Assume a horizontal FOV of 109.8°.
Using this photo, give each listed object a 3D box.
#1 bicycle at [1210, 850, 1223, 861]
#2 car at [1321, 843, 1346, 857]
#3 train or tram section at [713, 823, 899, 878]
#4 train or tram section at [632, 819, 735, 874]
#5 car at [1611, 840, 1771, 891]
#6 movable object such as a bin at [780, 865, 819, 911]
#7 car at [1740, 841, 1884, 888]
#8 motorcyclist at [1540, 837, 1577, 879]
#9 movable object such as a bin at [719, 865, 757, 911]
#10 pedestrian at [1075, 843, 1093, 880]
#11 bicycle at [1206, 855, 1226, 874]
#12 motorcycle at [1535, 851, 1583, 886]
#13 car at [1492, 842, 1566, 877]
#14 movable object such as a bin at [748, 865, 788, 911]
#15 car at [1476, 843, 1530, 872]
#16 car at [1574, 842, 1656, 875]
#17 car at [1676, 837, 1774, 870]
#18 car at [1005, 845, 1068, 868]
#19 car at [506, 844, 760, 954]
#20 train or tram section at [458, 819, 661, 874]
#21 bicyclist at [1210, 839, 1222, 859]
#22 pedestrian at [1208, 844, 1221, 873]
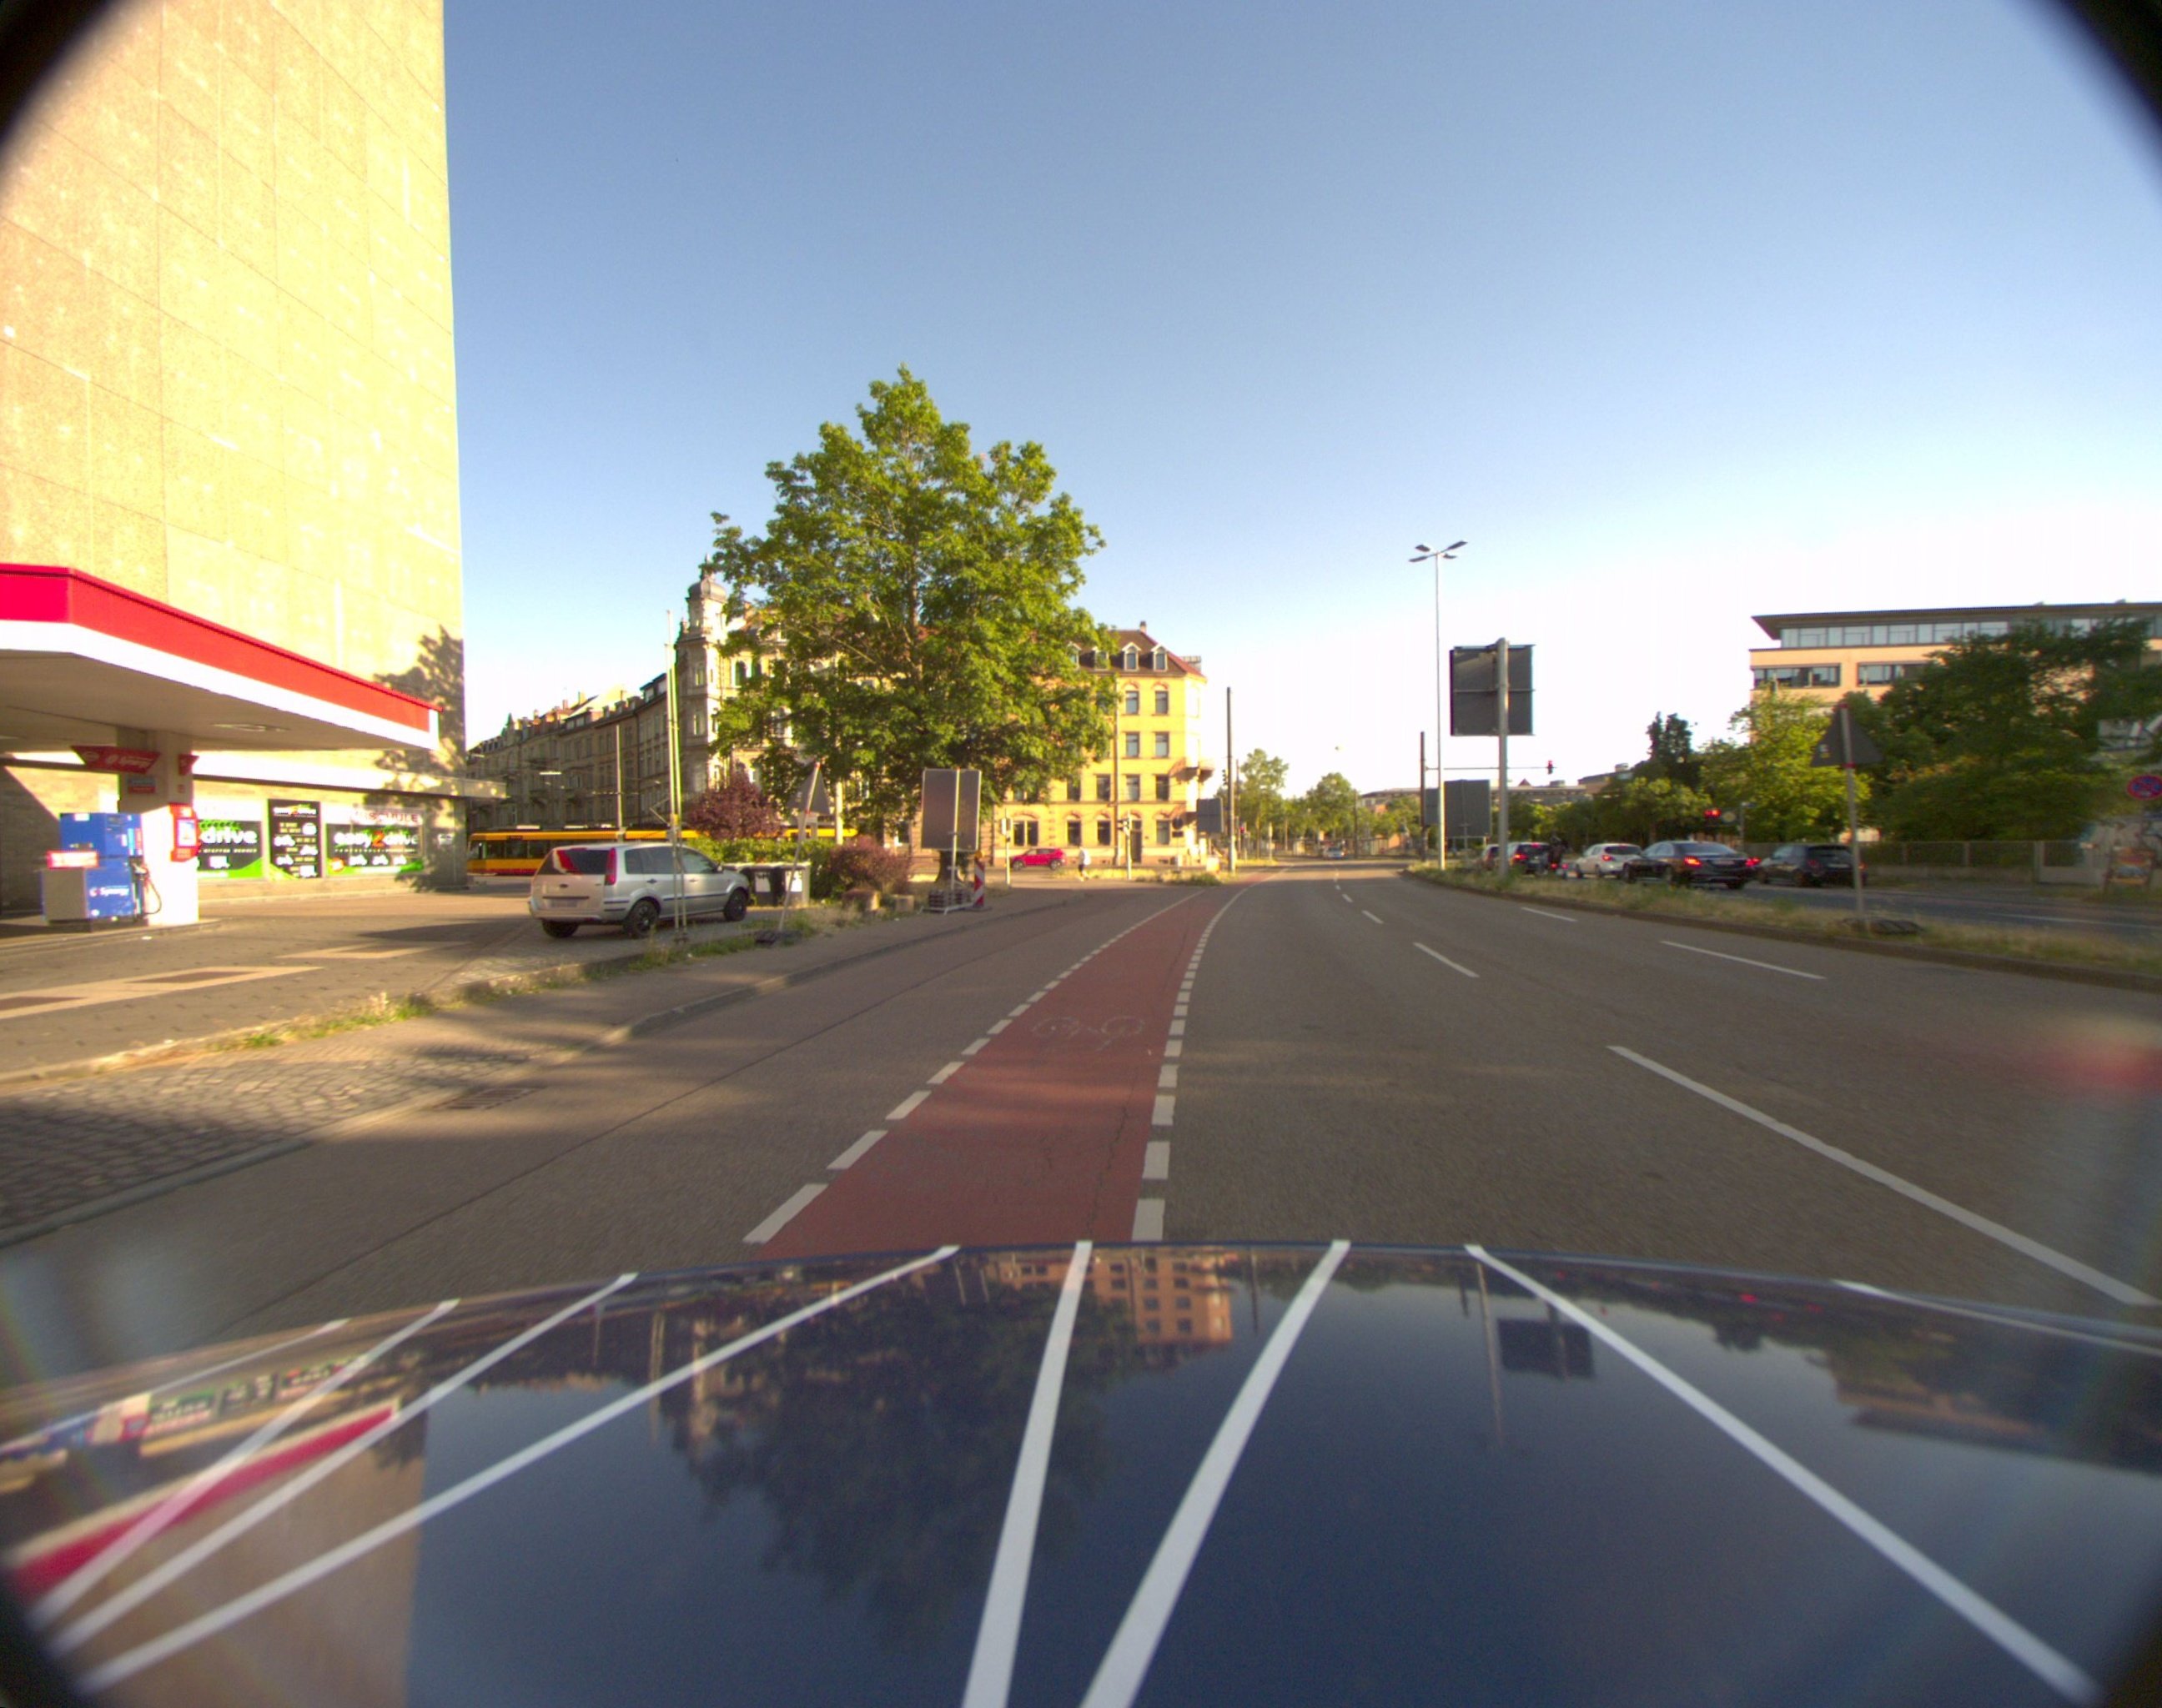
[{"bbox_3d":[12.434,0.117,69.911,1.070,1.018,2.977,0,1,9],"label":"bicycle"},{"bbox_3d":[29.993,-0.493,90.254,1.997,1.565,4.001,-1,1,6],"label":"car"},{"bbox_3d":[-18.235,-0.269,50.994,11.291,3.488,2.869,-1,1,-3],"label":"train or tram section"},{"bbox_3d":[-26.505,-0.511,50.780,5.298,3.488,2.870,-1,1,4],"label":"train or tram section"},{"bbox_3d":[19.587,0.304,24.771,1.996,1.487,5.297,0,1,13],"label":"car"},{"bbox_3d":[-6.469,0.768,17.482,0.573,1.023,0.674,0,1,6],"label":"movable object such as a bin"},{"bbox_3d":[24.762,0.319,25.954,1.856,1.455,4.004,-1,1,15],"label":"car"},{"bbox_3d":[16.232,0.124,25.861,0.852,1.390,1.063,0,1,19],"label":"motorcyclist"},{"bbox_3d":[-7.969,0.775,17.645,0.521,1.023,0.586,0,1,27],"label":"movable object such as a bin"},{"bbox_3d":[0.176,0.371,37.663,0.826,1.778,0.911,-1,1,3],"label":"pedestrian"},{"bbox_3d":[7.675,0.577,43.129,0.398,1.023,1.675,0,1,38],"label":"bicycle"},{"bbox_3d":[16.236,0.461,25.865,0.859,1.101,2.473,0,1,19],"label":"motorcycle"},{"bbox_3d":[17.726,0.177,30.278,1.720,1.289,4.382,0,1,19],"label":"car"},{"bbox_3d":[-7.269,0.780,17.663,0.573,1.023,0.674,0,1,6],"label":"movable object such as a bin"},{"bbox_3d":[20.168,0.127,36.462,1.720,1.289,4.255,0,1,21],"label":"car"},{"bbox_3d":[22.312,0.162,31.923,1.721,1.311,3.899,0,1,17],"label":"car"},{"bbox_3d":[26.593,-0.038,31.548,1.721,1.289,3.899,0,1,17],"label":"car"},{"bbox_3d":[-3.207,0.178,54.935,4.463,1.605,1.821,-1,1,-3],"label":"car"},{"bbox_3d":[-7.470,0.639,13.177,1.622,1.585,3.896,0,1,9],"label":"car"},{"bbox_3d":[-35.648,-0.476,52.011,12.995,3.488,2.871,0,1,9],"label":"train or tram section"},{"bbox_3d":[12.430,-0.451,69.935,1.070,1.831,1.304,0,1,9],"label":"bicyclist"},{"bbox_3d":[7.589,0.270,43.147,0.488,1.622,0.526,0,1,38],"label":"pedestrian"}]
